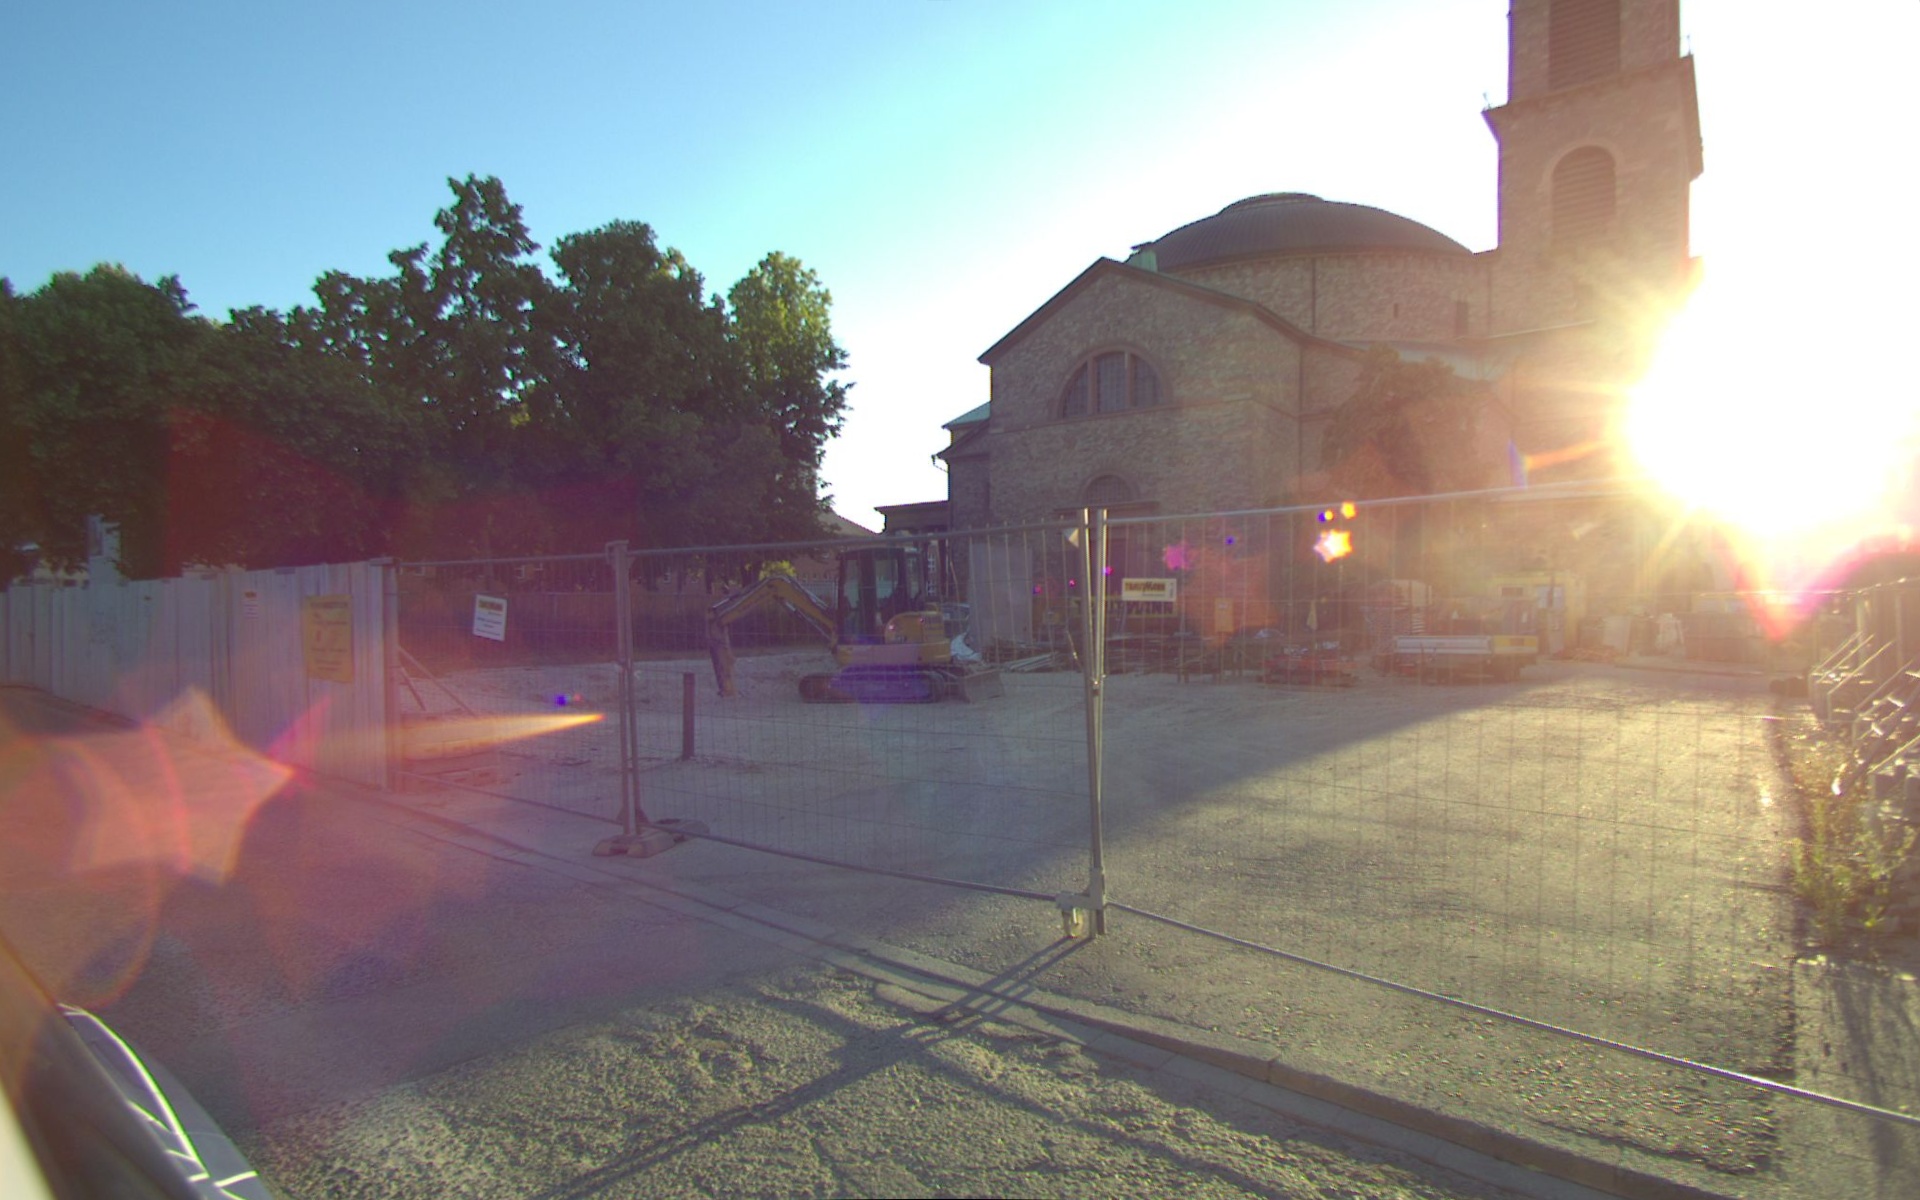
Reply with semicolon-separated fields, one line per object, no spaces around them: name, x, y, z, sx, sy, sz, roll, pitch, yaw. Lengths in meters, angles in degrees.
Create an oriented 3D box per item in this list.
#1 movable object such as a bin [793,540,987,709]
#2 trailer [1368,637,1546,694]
movable object such as a bin;-1.128;0.405;17.213;2.725;2.623;2.147;0;-1;18
trailer;10.270;1.285;20.776;4.304;0.998;2.001;2;-2;-45
